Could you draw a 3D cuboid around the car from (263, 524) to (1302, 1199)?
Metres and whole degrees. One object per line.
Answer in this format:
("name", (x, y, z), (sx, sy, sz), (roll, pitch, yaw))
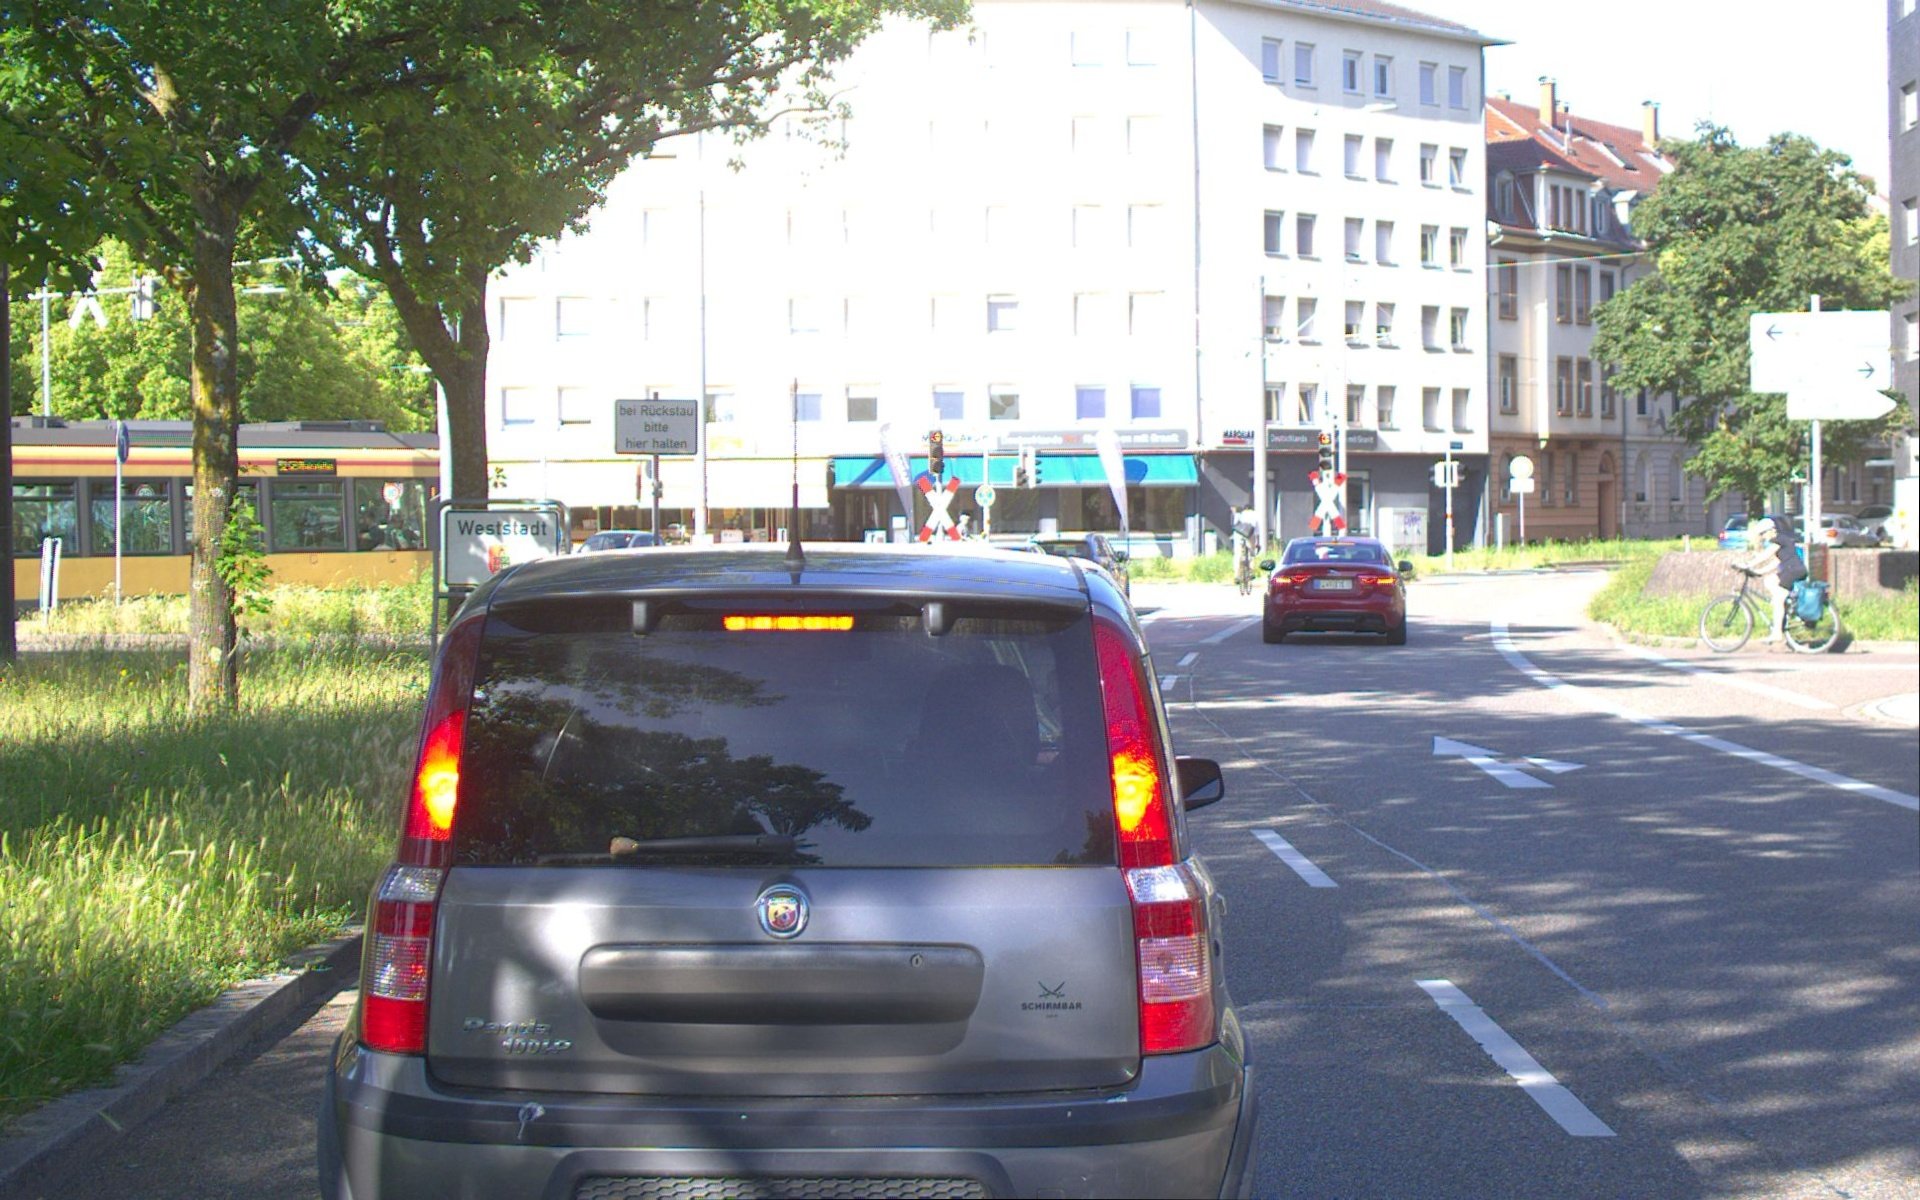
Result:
("car", (-0.298, 0.603, 7.428), (1.628, 1.503, 4.000), (-1, 1, -1))

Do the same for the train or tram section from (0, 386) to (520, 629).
("train or tram section", (-16.069, -1.451, 54.349), (3.304, 3.757, 20.758), (1, 2, 43))

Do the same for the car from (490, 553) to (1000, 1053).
("car", (-0.640, 0.565, 11.649), (1.463, 1.396, 3.393), (0, 1, -1))

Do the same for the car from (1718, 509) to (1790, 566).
("car", (20.886, -1.656, 90.398), (1.683, 1.444, 3.569), (0, 1, 15))

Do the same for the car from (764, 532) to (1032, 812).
("car", (-0.358, 0.361, 20.689), (1.463, 1.503, 3.505), (0, 2, -1))

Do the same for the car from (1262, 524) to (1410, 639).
("car", (5.029, -0.283, 46.219), (1.887, 1.423, 4.386), (0, 2, 6))

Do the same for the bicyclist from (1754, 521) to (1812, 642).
("bicyclist", (10.235, -0.229, 42.738), (0.584, 1.488, 0.549), (0, 1, 28))

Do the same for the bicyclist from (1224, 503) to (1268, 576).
("bicyclist", (5.682, -1.193, 68.354), (0.741, 1.433, 0.845), (1, 0, -2))

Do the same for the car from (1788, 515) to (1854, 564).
("car", (23.563, -1.661, 94.026), (1.528, 1.310, 3.285), (0, 1, 18))

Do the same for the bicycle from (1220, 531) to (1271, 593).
("bicycle", (5.660, -0.761, 68.301), (0.708, 1.194, 2.520), (1, 1, -2))

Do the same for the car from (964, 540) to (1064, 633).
("car", (0.752, -0.215, 49.610), (1.356, 1.277, 2.876), (-1, 1, -1))

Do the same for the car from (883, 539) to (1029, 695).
("car", (-0.058, 0.129, 33.872), (1.356, 1.444, 3.266), (-1, 1, -1))

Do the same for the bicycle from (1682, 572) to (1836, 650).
("bicycle", (9.976, 0.128, 42.954), (1.792, 0.942, 0.559), (0, 1, 29))

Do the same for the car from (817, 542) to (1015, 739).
("car", (-0.344, 0.274, 27.295), (1.463, 1.420, 3.381), (0, 2, -1))

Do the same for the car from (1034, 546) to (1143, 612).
("car", (2.174, -0.363, 57.679), (1.143, 1.060, 2.719), (0, 1, 17))
